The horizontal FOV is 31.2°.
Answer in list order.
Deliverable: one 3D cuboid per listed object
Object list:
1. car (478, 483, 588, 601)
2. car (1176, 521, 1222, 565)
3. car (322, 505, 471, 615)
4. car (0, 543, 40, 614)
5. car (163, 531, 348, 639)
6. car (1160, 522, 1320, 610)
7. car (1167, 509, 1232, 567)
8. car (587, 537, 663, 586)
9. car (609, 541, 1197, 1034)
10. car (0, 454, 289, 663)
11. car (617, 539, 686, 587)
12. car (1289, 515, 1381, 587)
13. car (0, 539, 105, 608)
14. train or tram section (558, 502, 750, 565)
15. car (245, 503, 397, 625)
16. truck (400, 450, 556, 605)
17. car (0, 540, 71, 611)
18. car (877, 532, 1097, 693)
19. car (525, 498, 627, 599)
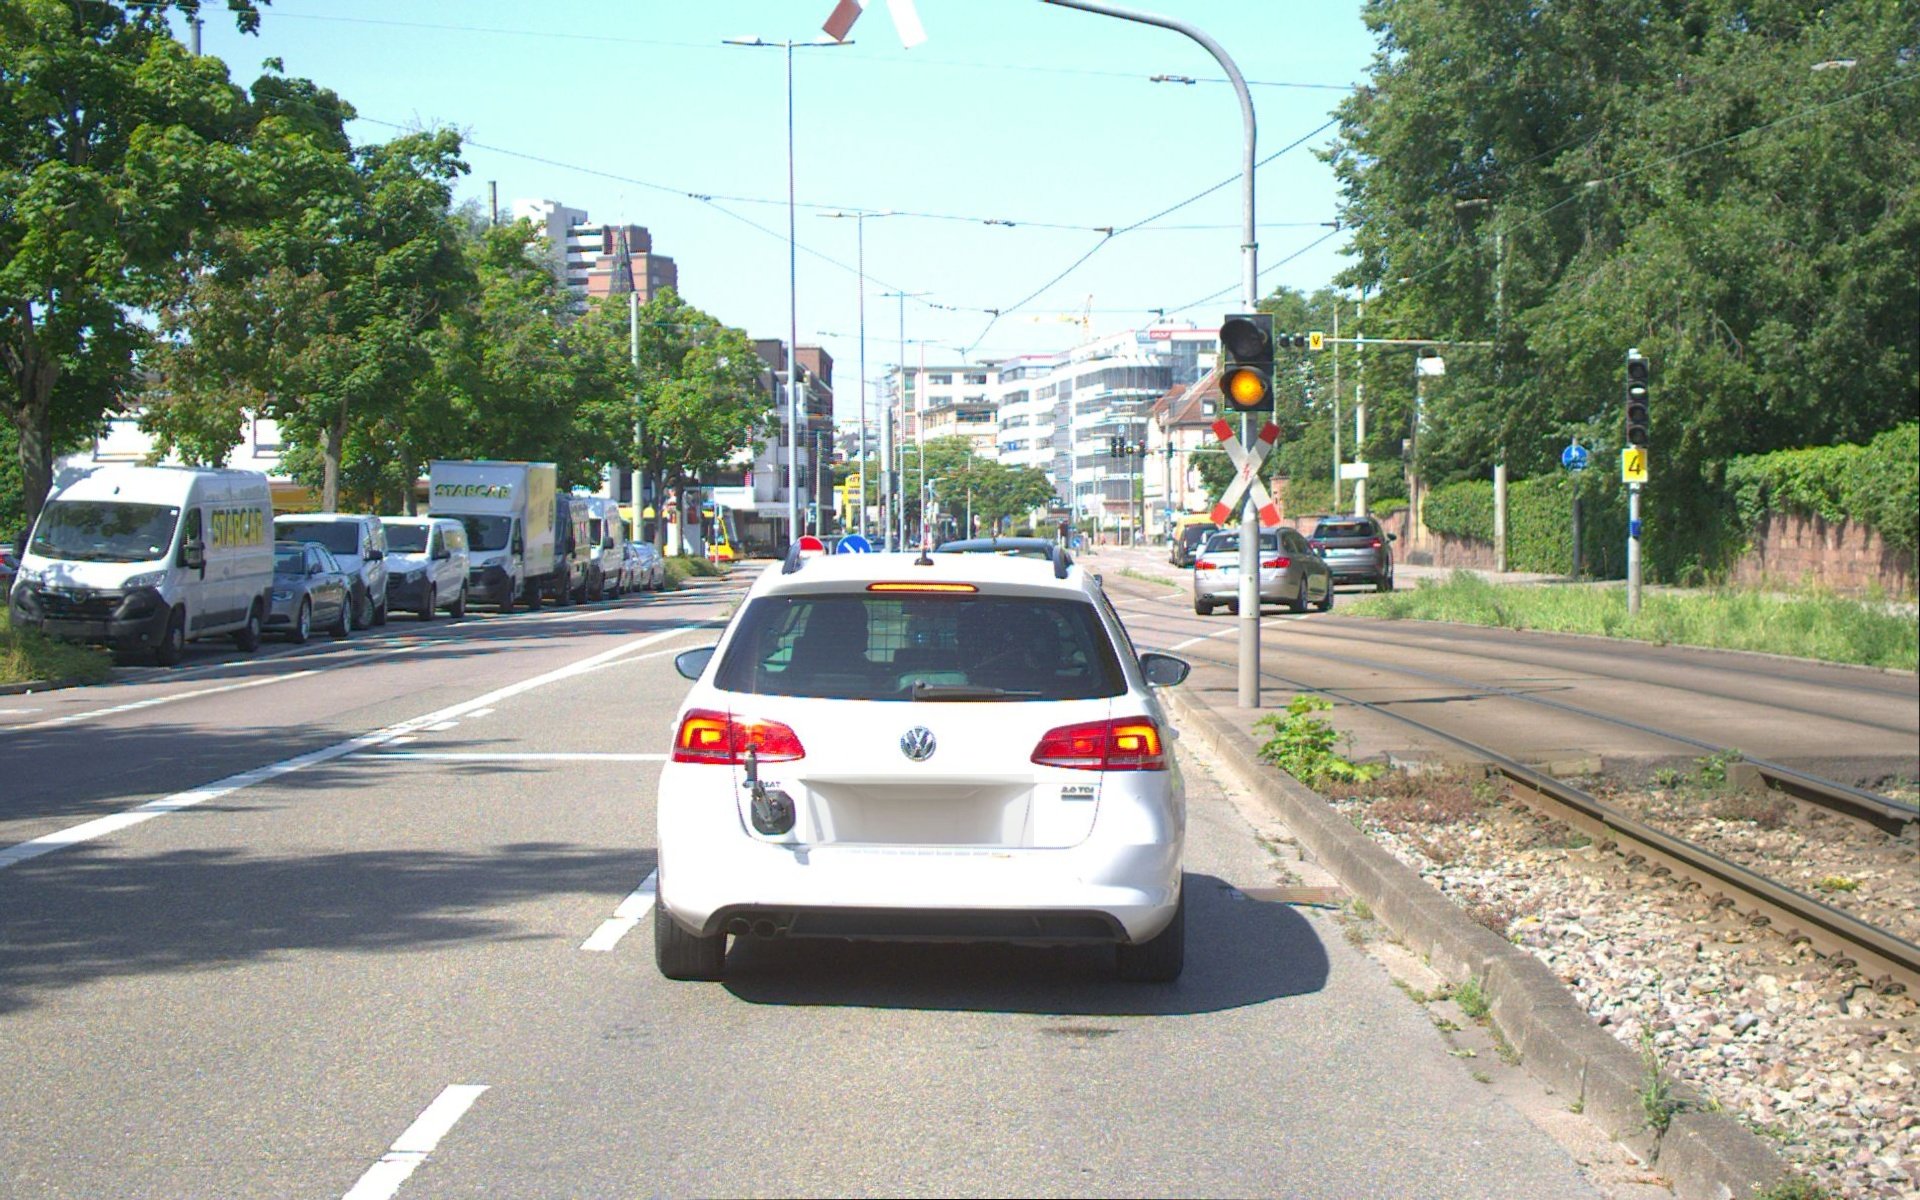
[{"bbox_3d":[-9.987,-1.374,80.812,1.843,2.659,5.003,-1,1,1],"label":"car"},{"bbox_3d":[10.235,-2.439,147.109,1.691,1.806,3.454,2,1,0],"label":"car"},{"bbox_3d":[-10.550,-0.783,64.712,1.843,1.954,5.134,-1,1,1],"label":"car"},{"bbox_3d":[-20.840,-0.420,69.440,3.987,1.397,1.771,-1,1,3],"label":"car"},{"bbox_3d":[-10.459,-0.252,51.283,1.843,1.511,4.197,-1,1,0],"label":"car"},{"bbox_3d":[4.834,-0.596,58.789,1.862,1.412,4.321,2,1,16],"label":"car"},{"bbox_3d":[10.831,-2.795,155.962,2.463,2.490,5.910,2,1,0],"label":"car"},{"bbox_3d":[-10.143,-1.184,104.252,1.843,1.428,4.038,-1,1,0],"label":"car"},{"bbox_3d":[-0.189,0.542,12.484,1.768,1.441,3.913,1,1,0],"label":"car"},{"bbox_3d":[-10.660,-0.585,45.222,2.059,2.492,6.307,2,2,3],"label":"car"},{"bbox_3d":[-9.773,-1.191,109.268,1.780,1.428,4.038,-1,1,0],"label":"car"},{"bbox_3d":[8.282,-1.099,76.152,1.861,1.507,3.913,2,1,4],"label":"car"},{"bbox_3d":[-20.764,-0.557,74.487,3.987,1.439,1.771,-1,1,3],"label":"car"},{"bbox_3d":[-17.140,-3.742,192.089,11.256,3.241,2.305,2,1,29],"label":"train or tram section"},{"bbox_3d":[-10.717,-0.635,57.968,1.843,1.930,5.195,-1,1,-3],"label":"car"},{"bbox_3d":[-10.228,-1.557,73.477,2.356,3.112,6.892,-1,1,0],"label":"truck"},{"bbox_3d":[-20.864,-0.494,71.943,3.987,1.439,1.771,-1,1,3],"label":"car"},{"bbox_3d":[0.310,0.070,32.440,1.746,1.383,3.912,1,1,5],"label":"car"},{"bbox_3d":[-9.848,-1.355,88.609,1.843,2.486,5.856,-1,1,1],"label":"car"}]
